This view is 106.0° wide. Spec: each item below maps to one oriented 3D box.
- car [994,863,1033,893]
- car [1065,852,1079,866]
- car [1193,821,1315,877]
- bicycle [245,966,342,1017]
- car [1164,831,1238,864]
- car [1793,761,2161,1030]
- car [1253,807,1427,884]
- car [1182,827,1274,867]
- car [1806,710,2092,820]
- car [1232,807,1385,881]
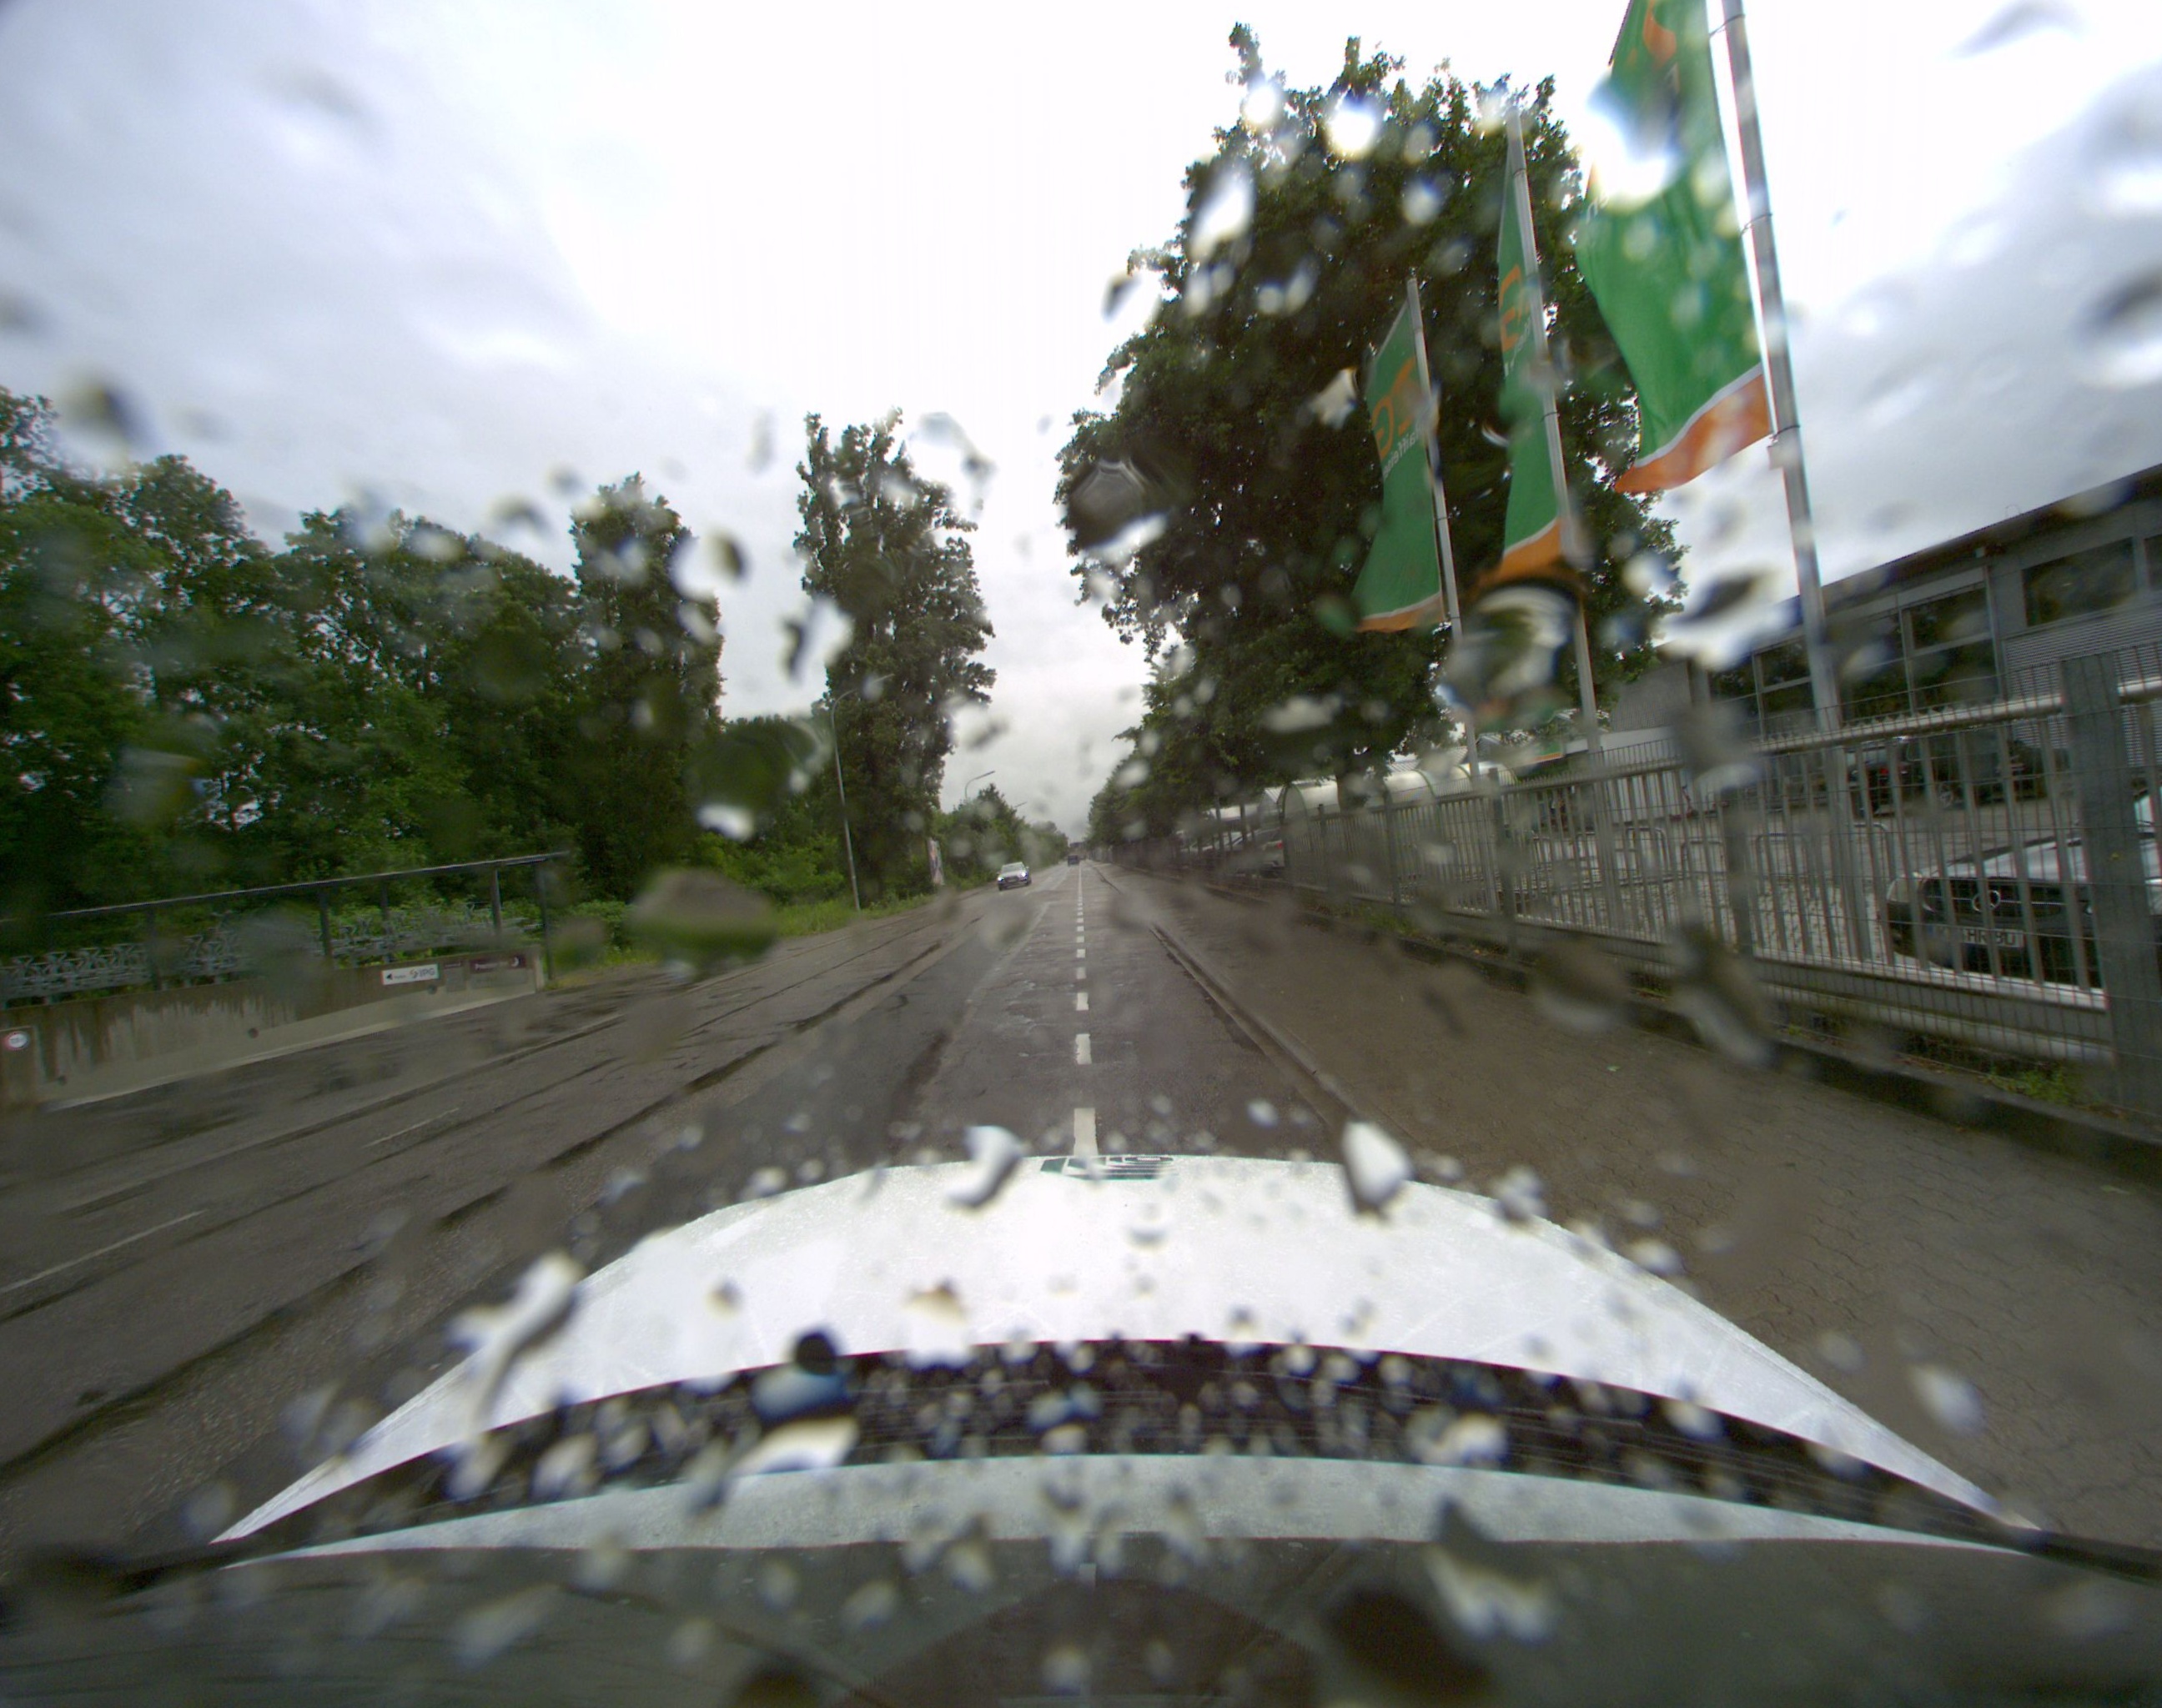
[{"bbox_3d":[-4.027,1.421,49.454,1.728,1.450,4.381,-10,0,1],"label":"car"},{"bbox_3d":[-1.384,0.837,127.972,1.988,1.910,4.199,-7,-1,-1],"label":"car"},{"bbox_3d":[6.717,-0.183,31.851,4.206,1.618,1.819,-7,0,-8],"label":"car"},{"bbox_3d":[-18.564,3.220,19.238,0.514,0.858,1.704,-8,0,0],"label":"bicycle"},{"bbox_3d":[7.528,-0.408,51.397,4.200,1.588,1.822,-7,0,-4],"label":"car"},{"bbox_3d":[6.949,0.037,4.879,3.928,1.256,1.618,-6,-1,-2],"label":"car"},{"bbox_3d":[7.257,-0.226,23.109,4.197,1.600,1.823,-7,0,-2],"label":"car"},{"bbox_3d":[7.574,-0.333,42.148,4.206,1.533,1.819,-7,0,-8],"label":"car"},{"bbox_3d":[20.267,-2.022,19.186,4.347,1.832,2.064,-8,0,1],"label":"car"},{"bbox_3d":[7.206,-0.313,26.004,4.206,1.794,1.819,-7,0,-8],"label":"car"}]
